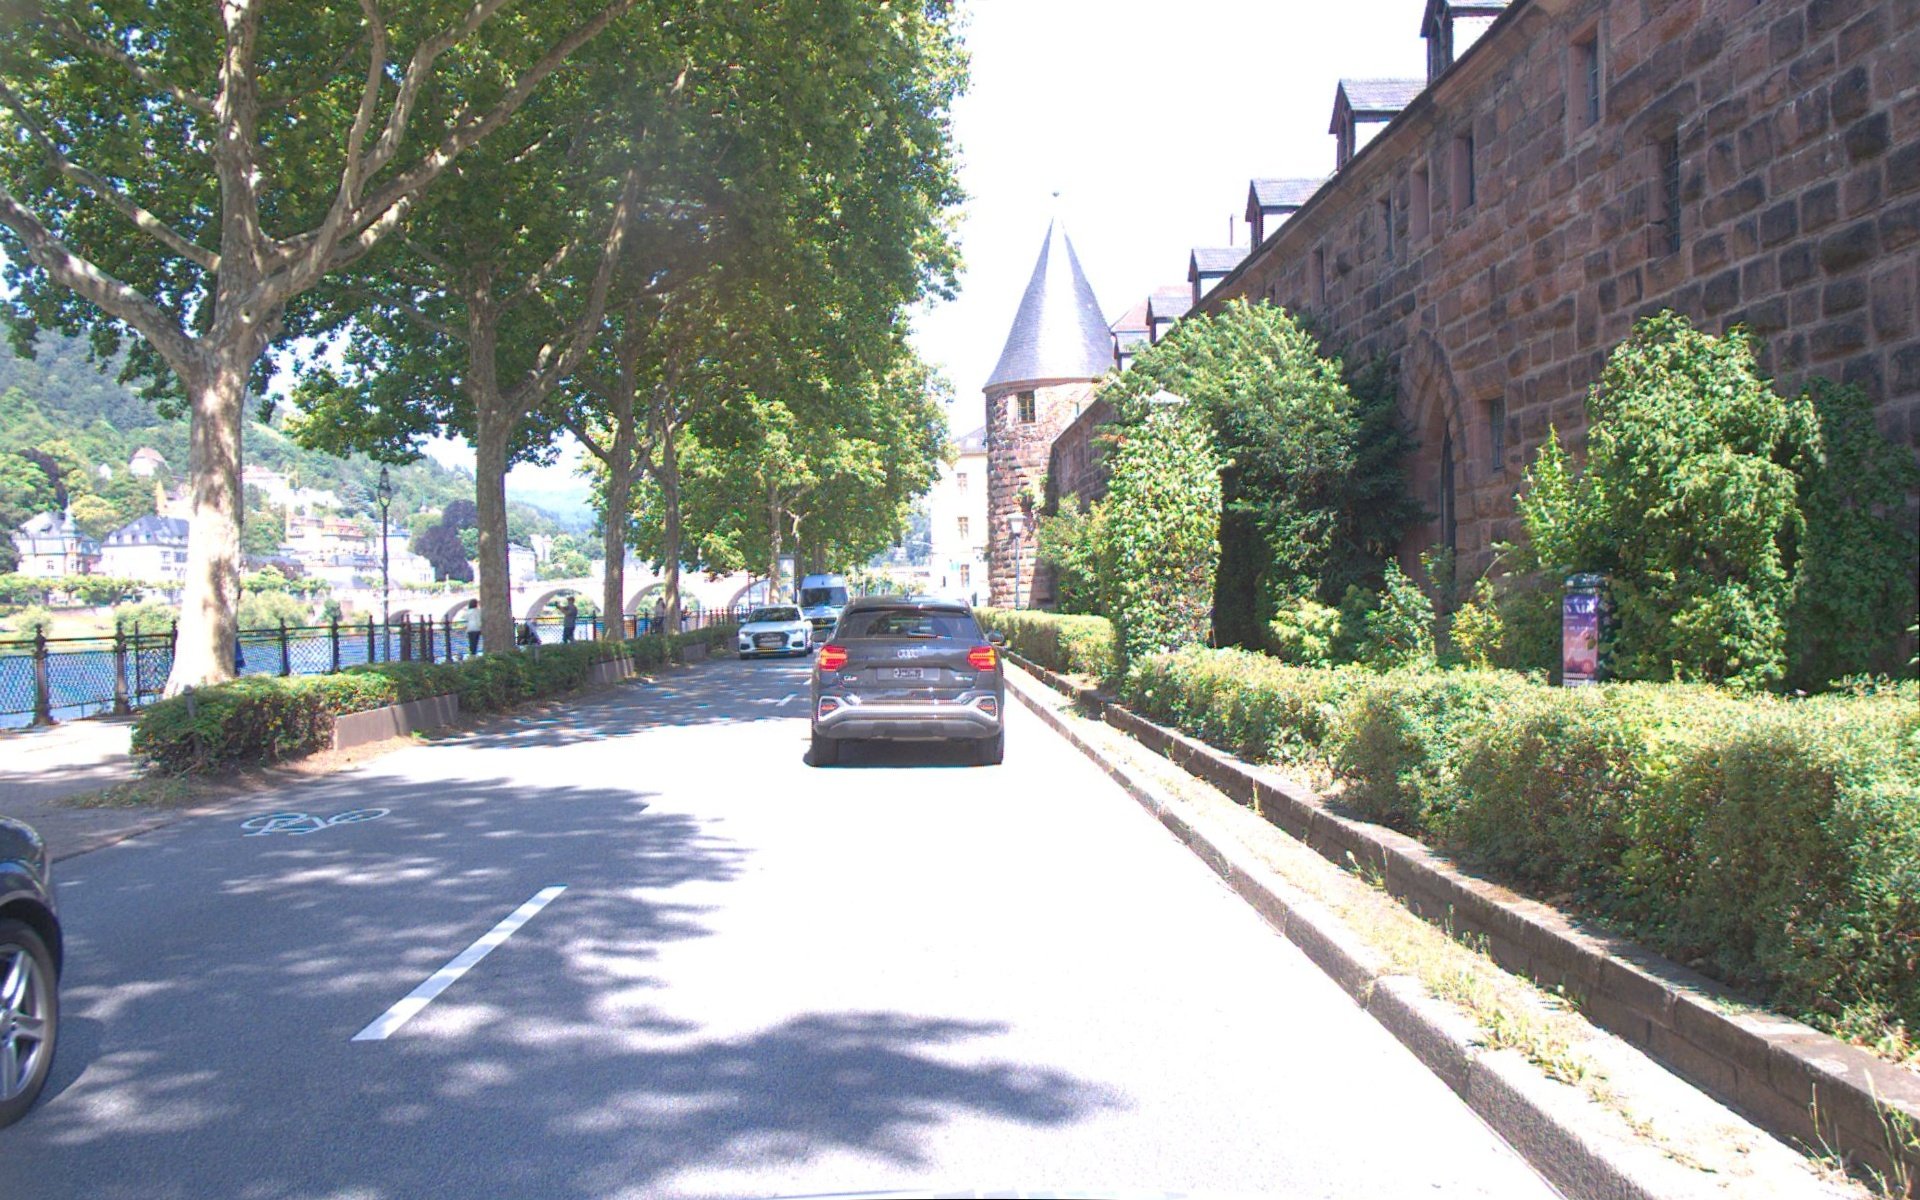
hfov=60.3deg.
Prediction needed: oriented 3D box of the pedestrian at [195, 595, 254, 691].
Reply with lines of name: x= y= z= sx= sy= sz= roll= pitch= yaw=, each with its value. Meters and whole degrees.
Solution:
pedestrian: x=-12.667 y=0.732 z=28.492 sx=0.689 sy=1.631 sz=0.705 roll=-1 pitch=-1 yaw=0

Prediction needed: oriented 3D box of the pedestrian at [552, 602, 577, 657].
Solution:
pedestrian: x=-11.874 y=0.878 z=49.678 sx=0.631 sy=1.647 sz=0.458 roll=1 pitch=-1 yaw=-4

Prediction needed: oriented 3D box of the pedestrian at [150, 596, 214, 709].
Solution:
pedestrian: x=-12.771 y=0.851 z=27.157 sx=0.689 sy=1.828 sz=0.705 roll=-1 pitch=-1 yaw=0

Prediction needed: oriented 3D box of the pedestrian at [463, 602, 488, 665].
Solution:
pedestrian: x=-13.590 y=0.939 z=46.396 sx=0.573 sy=1.740 sz=0.403 roll=1 pitch=-1 yaw=-4

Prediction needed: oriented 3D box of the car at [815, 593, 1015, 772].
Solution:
car: x=-0.472 y=0.705 z=15.956 sx=1.713 sy=1.521 sz=3.627 roll=0 pitch=0 yaw=-3

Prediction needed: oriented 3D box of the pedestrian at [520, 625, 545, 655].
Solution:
pedestrian: x=-12.973 y=1.204 z=50.195 sx=0.595 sy=0.899 sz=0.705 roll=-1 pitch=0 yaw=-2

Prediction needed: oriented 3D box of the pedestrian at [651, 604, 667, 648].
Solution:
pedestrian: x=-10.946 y=0.955 z=60.170 sx=0.448 sy=1.581 sz=0.585 roll=-2 pitch=0 yaw=-2

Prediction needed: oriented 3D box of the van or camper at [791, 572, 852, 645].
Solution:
van or camper: x=-5.347 y=0.344 z=64.570 sx=1.921 sy=2.612 sz=5.838 roll=-3 pitch=0 yaw=-2

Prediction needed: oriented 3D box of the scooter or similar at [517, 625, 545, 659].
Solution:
scooter or similar: x=-12.970 y=1.271 z=50.037 sx=0.618 sy=0.985 sz=1.012 roll=-1 pitch=-1 yaw=-2

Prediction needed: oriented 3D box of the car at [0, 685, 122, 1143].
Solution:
car: x=-3.465 y=0.936 z=3.499 sx=1.664 sy=1.232 sz=3.484 roll=-4 pitch=0 yaw=-3

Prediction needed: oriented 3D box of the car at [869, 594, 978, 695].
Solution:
car: x=-0.621 y=0.738 z=29.411 sx=1.764 sy=1.590 sz=3.715 roll=-2 pitch=0 yaw=0

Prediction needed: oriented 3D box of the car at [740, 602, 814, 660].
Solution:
car: x=-5.104 y=0.837 z=46.616 sx=1.734 sy=1.482 sz=4.531 roll=-2 pitch=0 yaw=-3

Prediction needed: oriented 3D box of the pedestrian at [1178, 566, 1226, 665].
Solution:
pedestrian: x=4.239 y=0.264 z=29.022 sx=0.684 sy=1.681 sz=0.705 roll=-2 pitch=0 yaw=0

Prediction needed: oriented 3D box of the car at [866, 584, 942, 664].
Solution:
car: x=-1.546 y=0.622 z=46.086 sx=1.953 sy=2.049 sz=3.998 roll=-2 pitch=0 yaw=-2
